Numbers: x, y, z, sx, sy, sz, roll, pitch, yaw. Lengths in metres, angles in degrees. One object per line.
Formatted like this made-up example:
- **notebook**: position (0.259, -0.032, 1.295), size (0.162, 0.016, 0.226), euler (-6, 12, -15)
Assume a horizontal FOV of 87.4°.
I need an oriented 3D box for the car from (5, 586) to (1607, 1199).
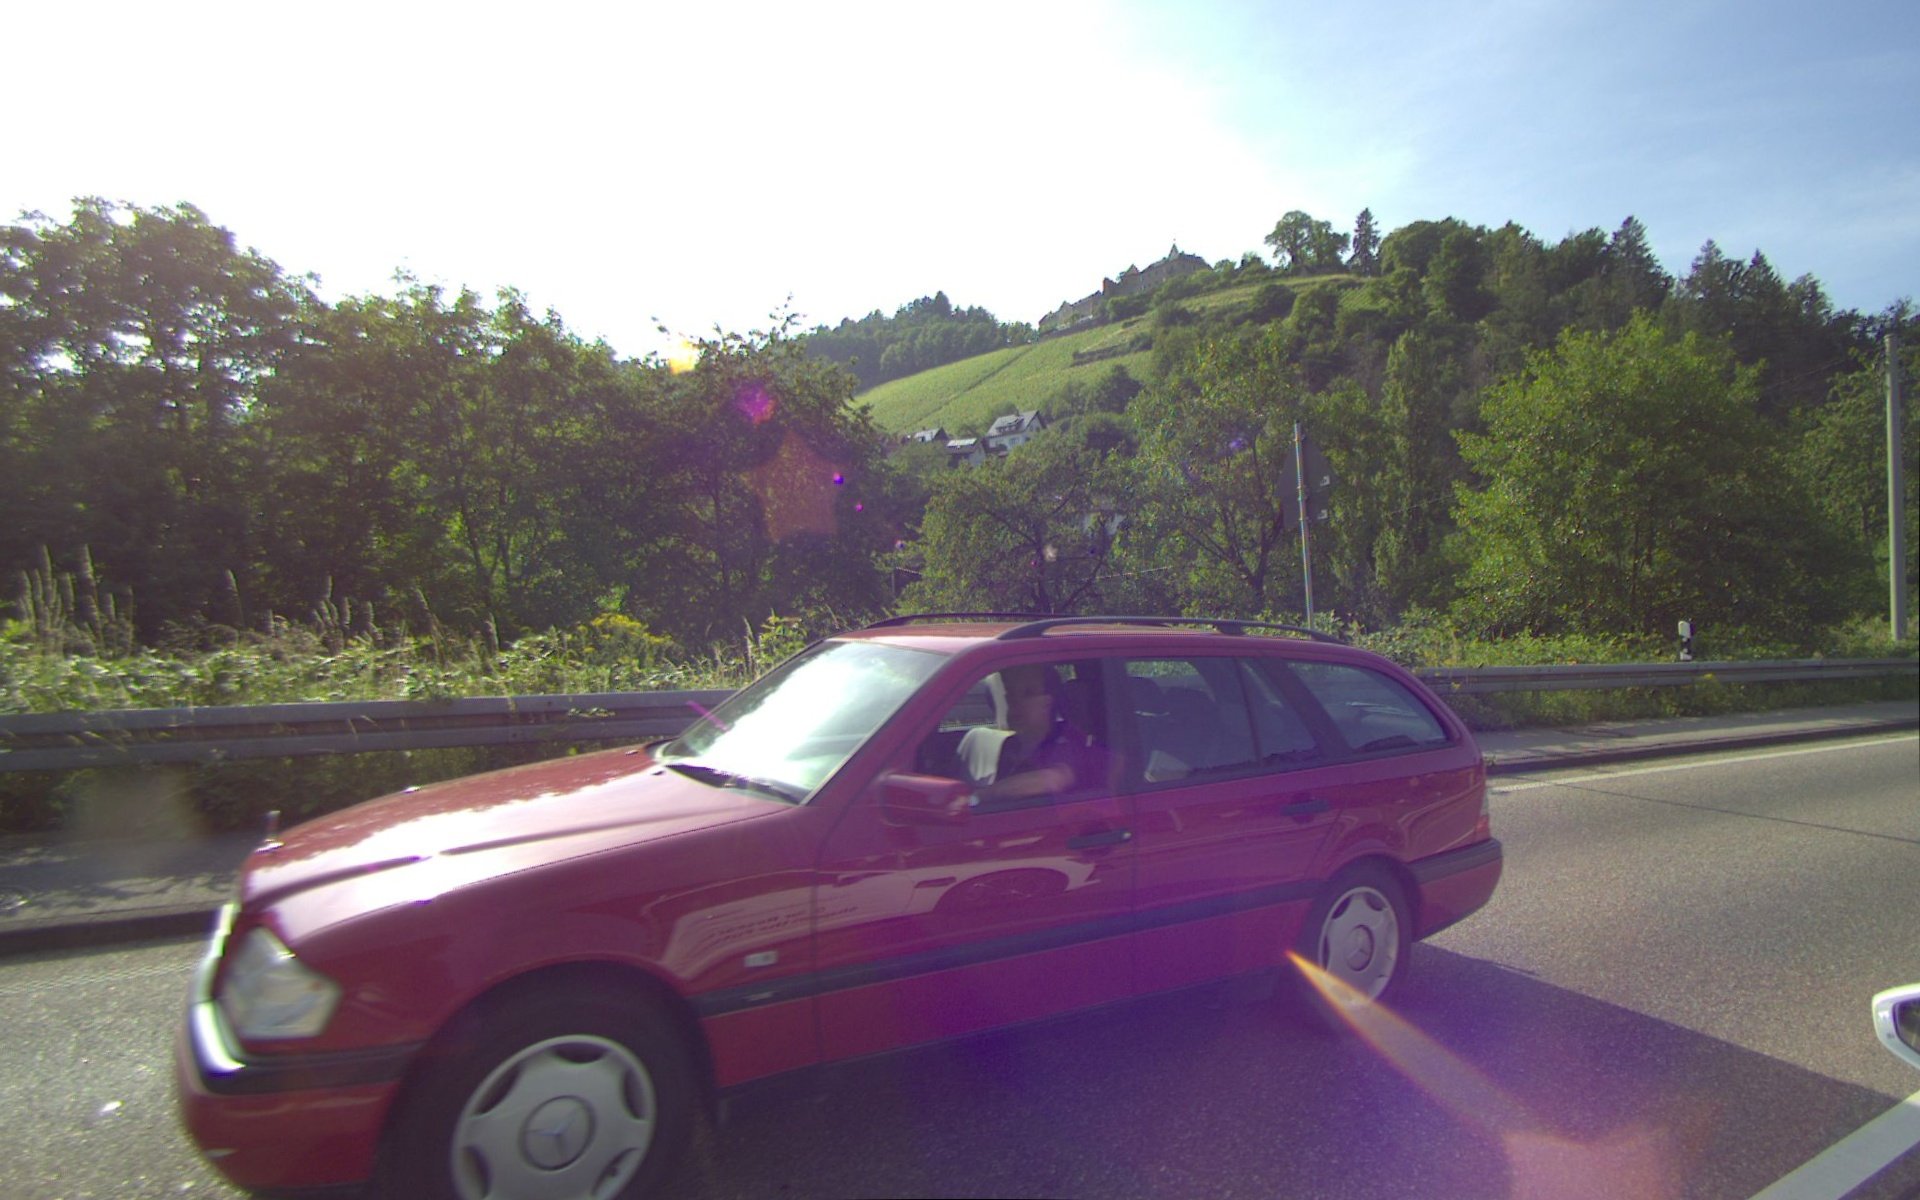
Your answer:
- **car**: position (0.087, 0.759, 3.691), size (4.886, 1.489, 1.833), euler (1, 1, -30)
